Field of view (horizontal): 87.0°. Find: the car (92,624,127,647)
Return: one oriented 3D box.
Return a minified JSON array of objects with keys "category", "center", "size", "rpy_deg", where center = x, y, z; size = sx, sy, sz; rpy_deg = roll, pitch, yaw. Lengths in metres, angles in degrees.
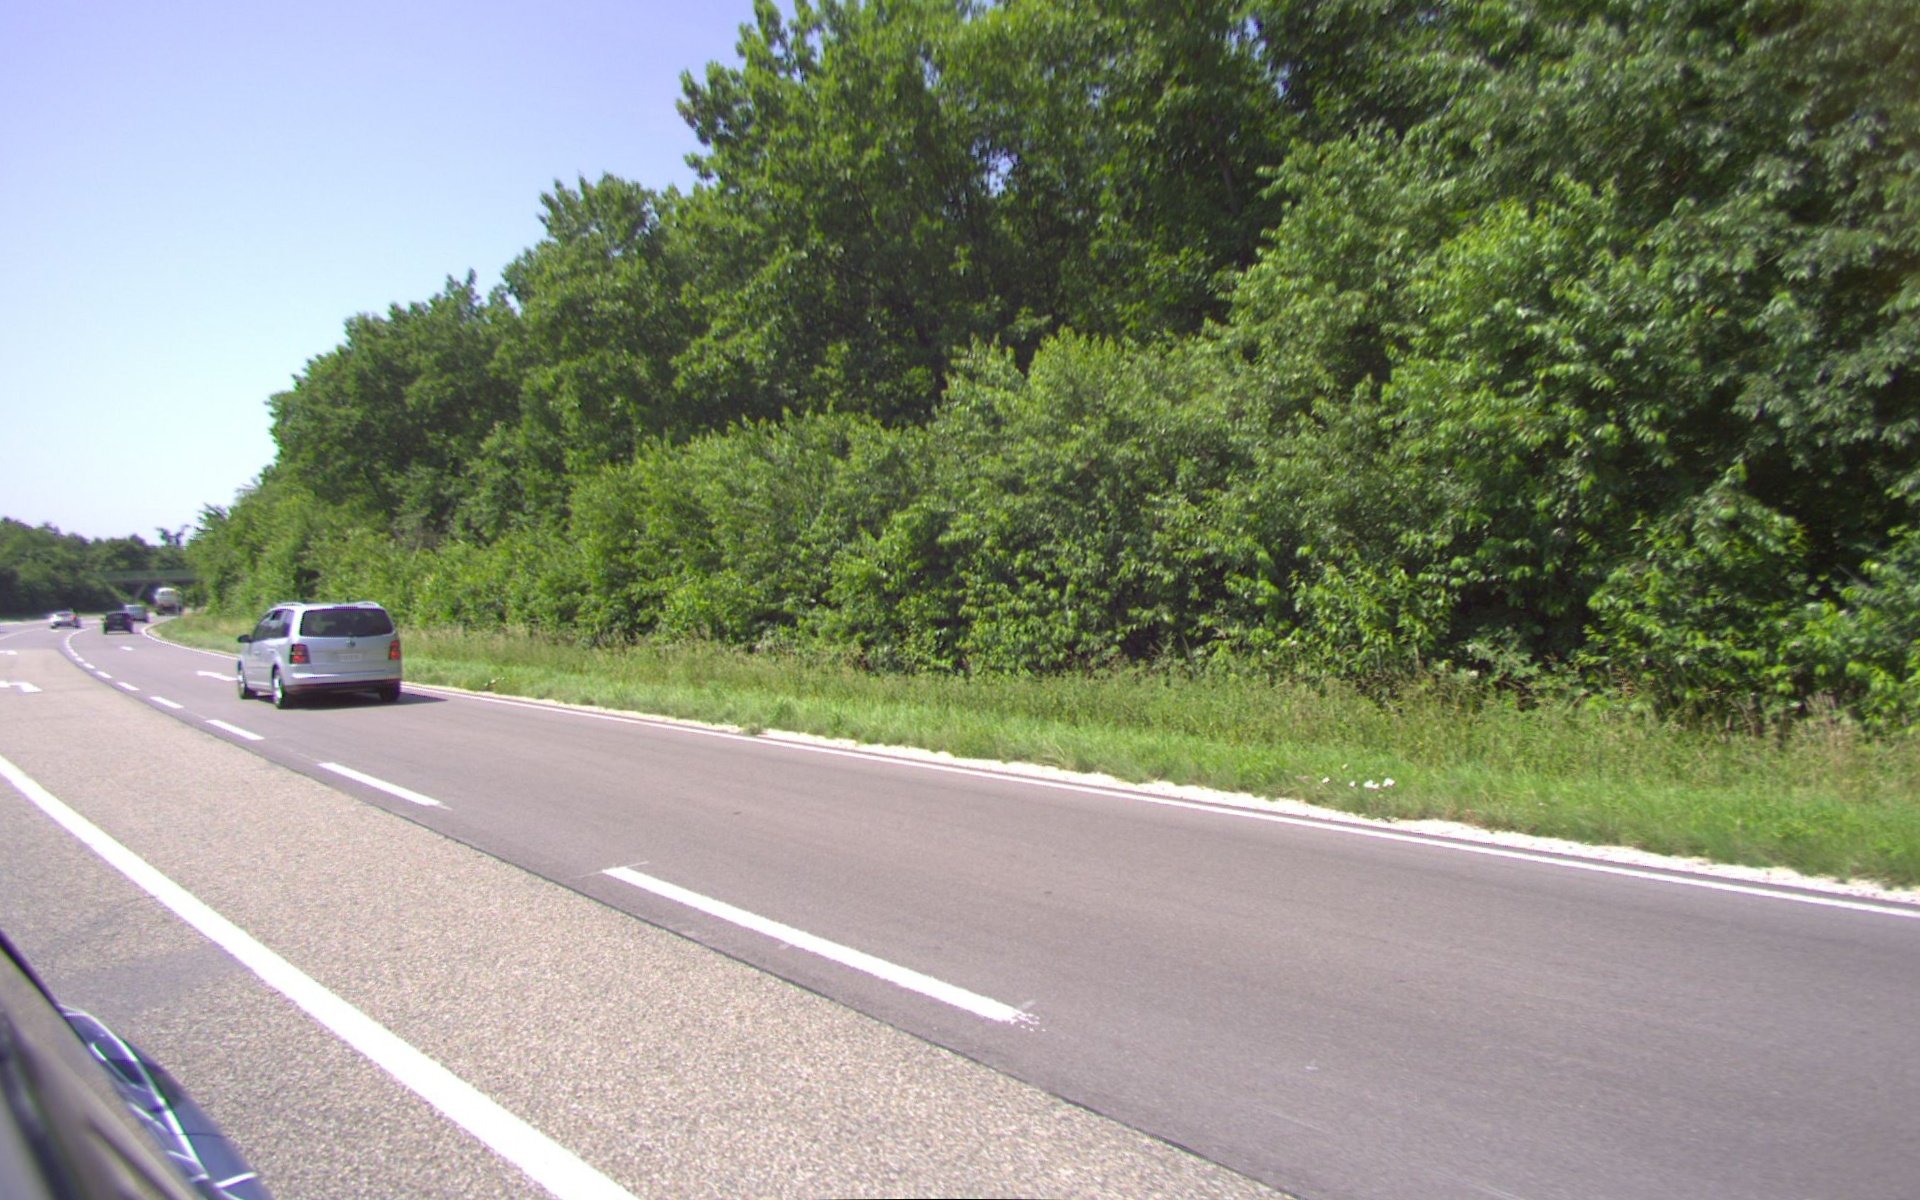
[{"category":"car","center":[-58.404,2.429,69.461],"size":[1.595,1.513,3.555],"rpy_deg":[0,-1,-44]}]

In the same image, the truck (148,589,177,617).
[{"category":"truck","center":[-108.237,0.393,137.458],"size":[2.592,3.698,8.817],"rpy_deg":[-1,0,-35]}]

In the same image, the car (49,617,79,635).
[{"category":"car","center":[-76.078,2.191,85.922],"size":[1.687,1.430,4.106],"rpy_deg":[-1,0,-39]}]

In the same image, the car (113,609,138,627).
[{"category":"car","center":[-84.323,1.789,102.219],"size":[1.820,1.792,4.901],"rpy_deg":[-1,0,-41]}]

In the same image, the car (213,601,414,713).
[{"category":"car","center":[-10.970,0.867,17.050],"size":[4.210,1.649,1.783],"rpy_deg":[-1,0,42]}]
